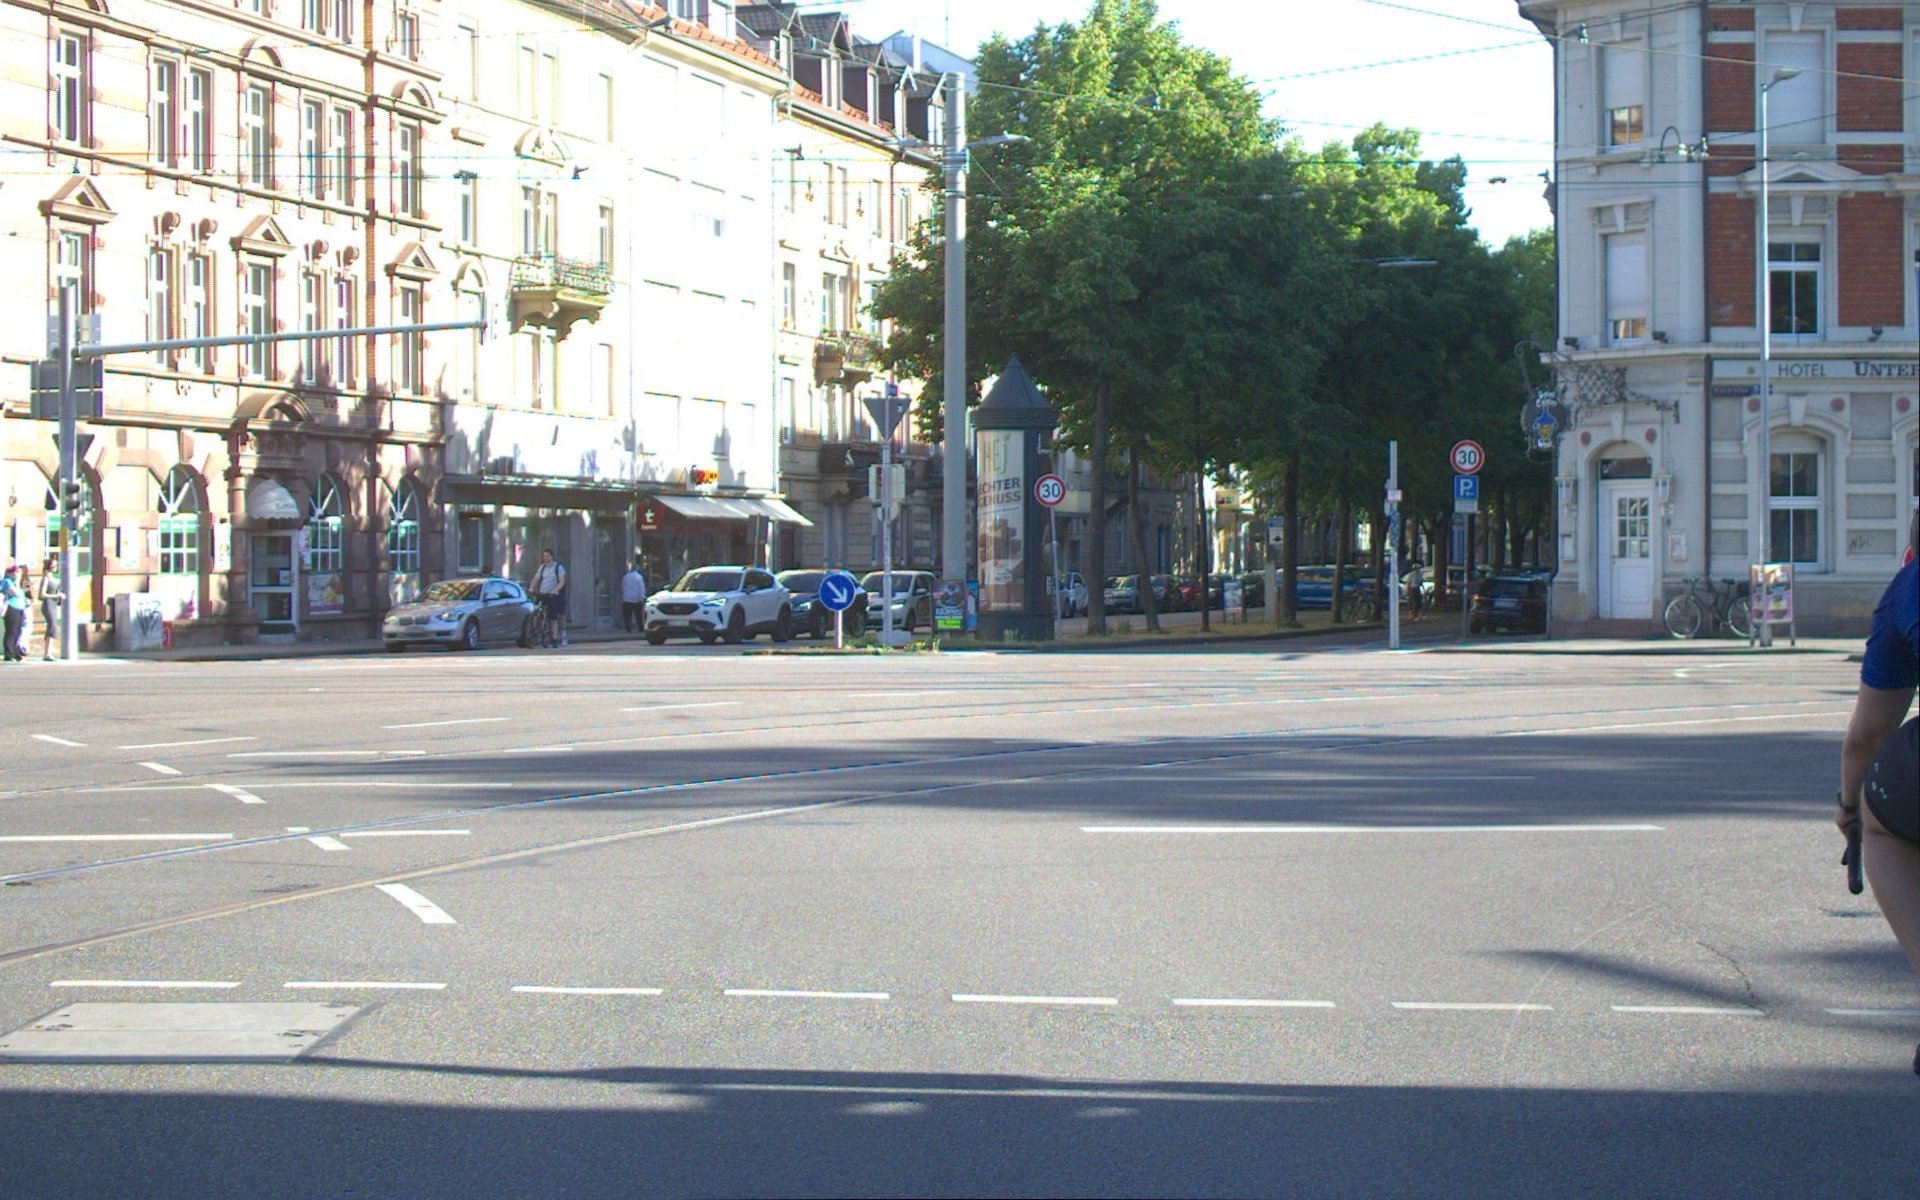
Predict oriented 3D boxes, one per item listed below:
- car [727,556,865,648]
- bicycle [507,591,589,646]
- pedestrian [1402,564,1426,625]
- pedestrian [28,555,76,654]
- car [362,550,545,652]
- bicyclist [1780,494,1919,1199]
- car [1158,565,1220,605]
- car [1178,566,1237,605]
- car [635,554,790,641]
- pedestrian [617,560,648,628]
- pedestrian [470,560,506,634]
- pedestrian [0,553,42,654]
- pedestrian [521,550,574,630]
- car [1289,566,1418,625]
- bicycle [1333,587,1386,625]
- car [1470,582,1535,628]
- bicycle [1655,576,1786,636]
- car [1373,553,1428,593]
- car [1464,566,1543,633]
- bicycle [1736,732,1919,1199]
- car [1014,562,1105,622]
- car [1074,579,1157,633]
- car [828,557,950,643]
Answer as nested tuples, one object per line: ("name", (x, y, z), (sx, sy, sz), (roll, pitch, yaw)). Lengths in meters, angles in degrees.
("car", (-3.478, 0.021, 73.620), (1.994, 1.897, 3.998), (1, 1, 11))
("bicycle", (-7.812, 0.340, 65.288), (0.763, 1.004, 2.395), (1, 1, 13))
("pedestrian", (13.378, -0.161, 101.270), (0.640, 1.790, 0.490), (1, 0, 12))
("pedestrian", (-15.088, 0.066, 57.162), (0.633, 1.628, 0.701), (1, 0, -4))
("car", (-9.840, -0.003, 67.119), (1.995, 1.897, 3.997), (1, 1, 17))
("bicyclist", (2.005, 0.548, 6.665), (0.639, 1.489, 0.883), (1, 2, 4))
("car", (8.819, -0.569, 132.217), (1.560, 1.508, 3.653), (1, 1, 17))
("car", (9.823, -0.582, 136.198), (1.560, 1.508, 3.653), (1, 1, 17))
("car", (-4.800, -0.065, 67.162), (1.994, 1.612, 3.998), (1, 1, 11))
("pedestrian", (-7.921, -0.138, 83.113), (0.544, 1.626, 0.706), (1, 0, 13))
("pedestrian", (-10.376, -0.067, 75.546), (0.544, 1.626, 0.706), (1, 0, 13))
("pedestrian", (-15.329, 0.054, 55.906), (0.633, 1.628, 0.701), (1, 0, -4))
("pedestrian", (-7.826, -0.187, 65.208), (0.821, 1.507, 0.598), (1, 0, 15))
("car", (13.166, -0.161, 114.974), (3.990, 1.897, 1.998), (1, 0, 16))
("bicycle", (11.509, 0.171, 99.071), (0.626, 1.081, 1.703), (1, 1, -31))
("car", (16.773, 0.146, 106.205), (1.755, 1.357, 3.854), (1, 1, 12))
("bicycle", (12.625, 0.096, 57.084), (2.049, 0.994, 0.630), (0, 0, 3))
("car", (17.267, -1.065, 134.646), (1.560, 1.508, 3.653), (1, 1, 17))
("car", (13.071, -0.032, 82.592), (1.692, 1.559, 3.839), (1, 1, 11))
("bicycle", (1.993, 0.842, 6.694), (0.626, 1.081, 1.703), (1, 1, 2))
("car", (3.285, -0.275, 112.703), (1.995, 1.897, 3.997), (1, 1, 17))
("car", (5.567, 0.199, 122.721), (1.995, 1.897, 3.997), (1, 1, 17))
("car", (-1.621, -0.015, 79.798), (1.994, 1.897, 3.998), (1, 1, 11))
